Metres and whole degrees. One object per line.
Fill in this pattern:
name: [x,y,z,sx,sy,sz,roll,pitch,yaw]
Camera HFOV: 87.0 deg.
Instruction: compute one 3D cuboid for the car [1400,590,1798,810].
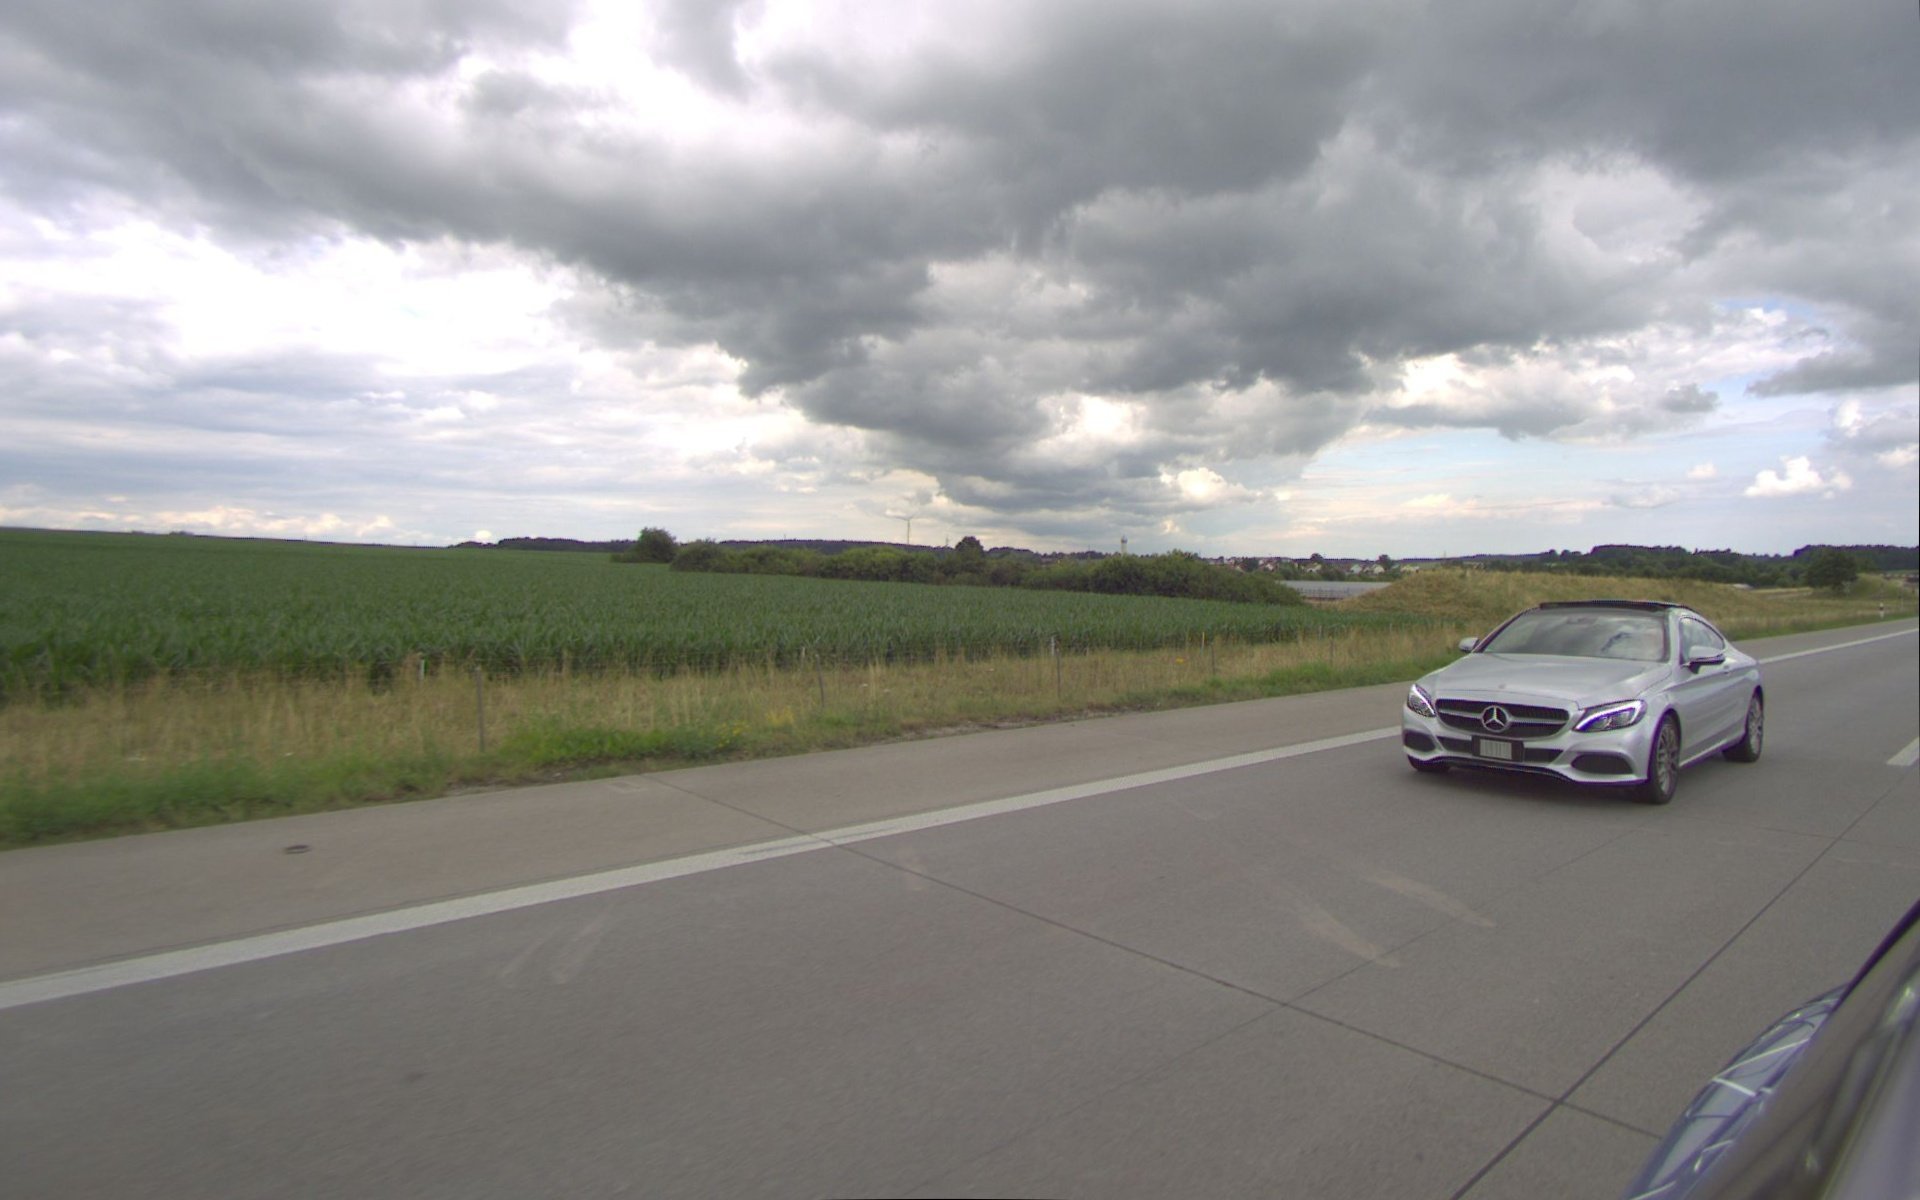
car: [5.636,0.639,8.717,4.148,1.421,1.792,-1,1,-41]
